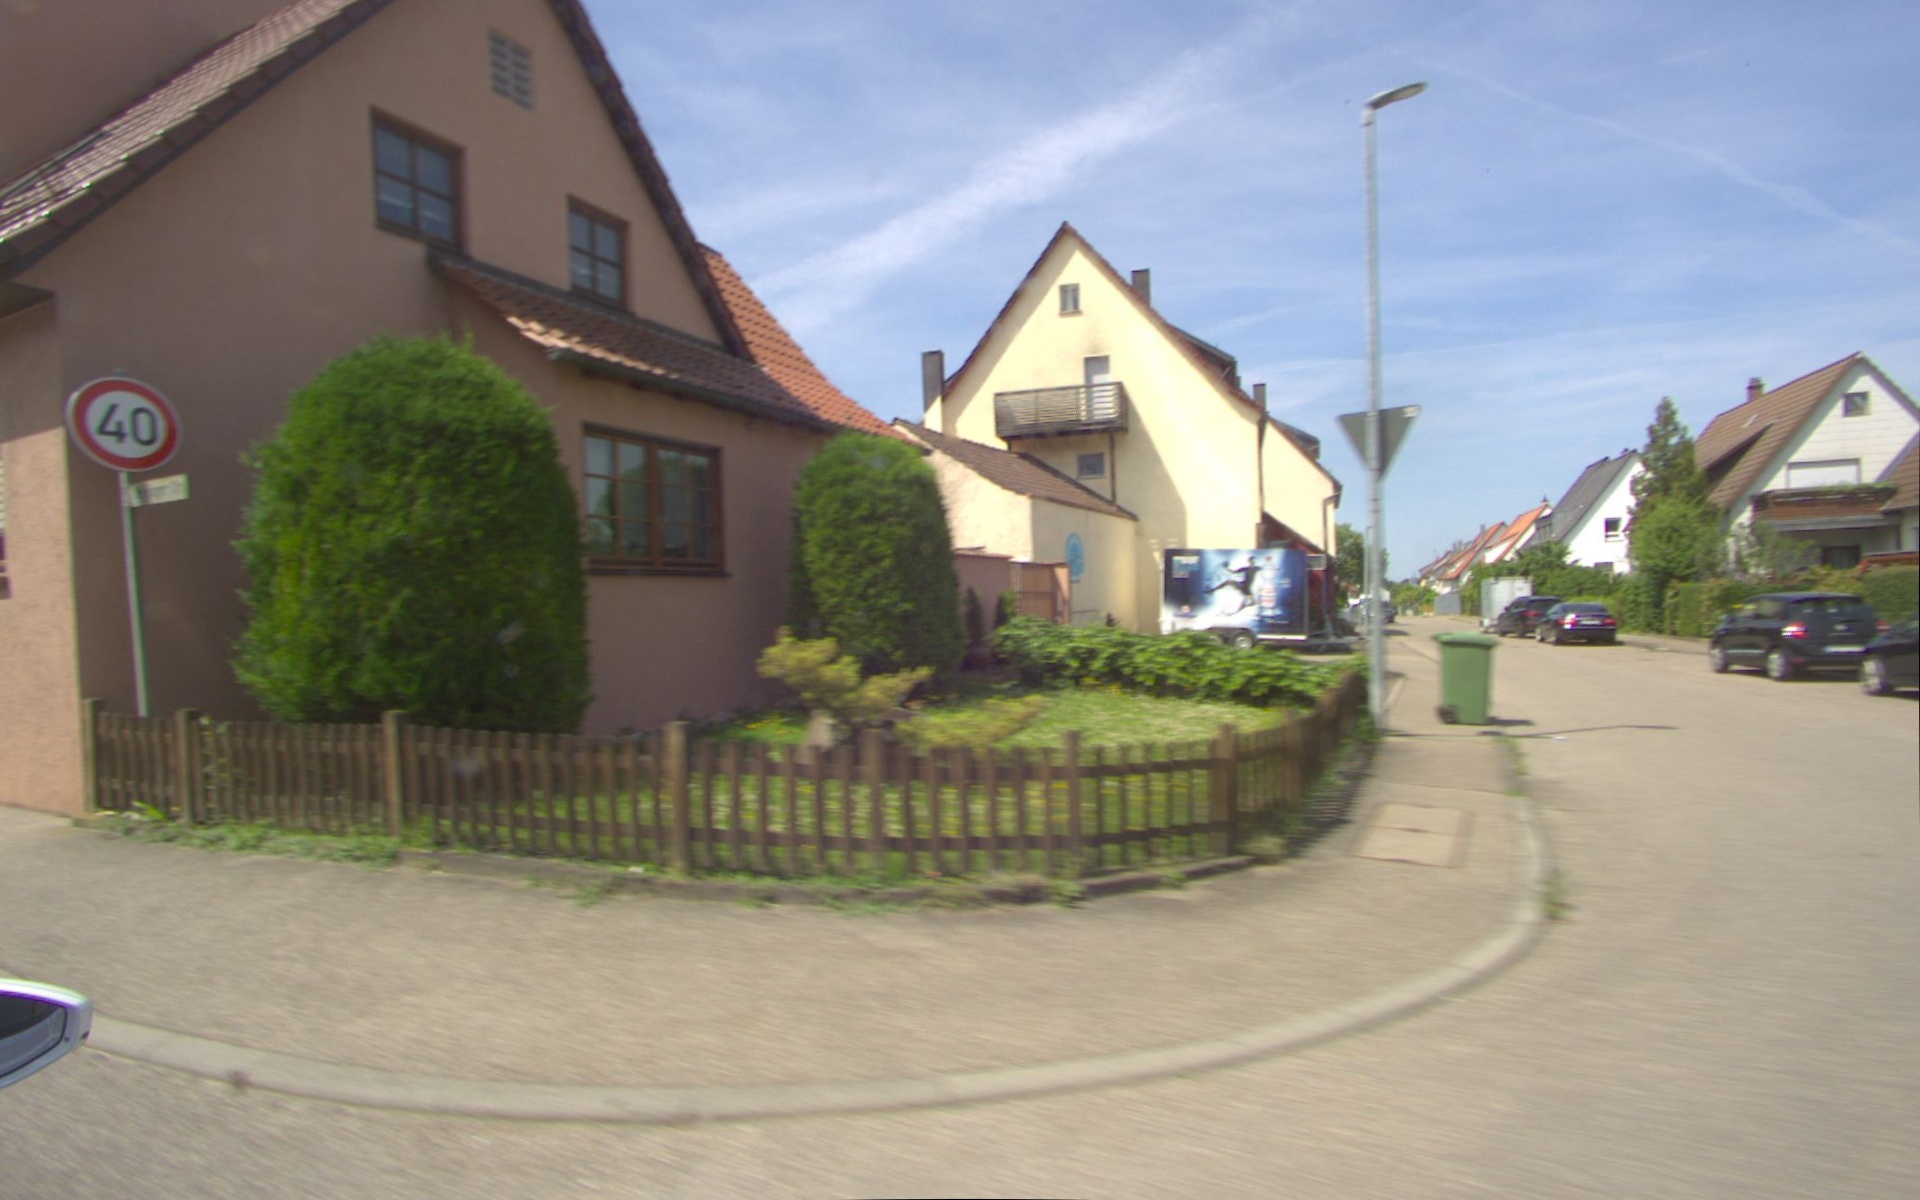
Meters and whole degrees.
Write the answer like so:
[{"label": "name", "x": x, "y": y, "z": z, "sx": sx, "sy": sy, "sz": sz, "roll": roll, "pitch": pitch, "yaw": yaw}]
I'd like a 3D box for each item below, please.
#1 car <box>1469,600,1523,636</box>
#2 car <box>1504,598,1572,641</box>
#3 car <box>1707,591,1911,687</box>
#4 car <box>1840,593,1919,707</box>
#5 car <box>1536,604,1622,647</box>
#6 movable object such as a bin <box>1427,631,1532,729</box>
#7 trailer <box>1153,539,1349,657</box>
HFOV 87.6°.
[{"label": "car", "x": 25.272, "y": 0.822, "z": 47.289, "sx": 1.618, "sy": 1.623, "sz": 3.440, "roll": -1, "pitch": 0, "yaw": 18}, {"label": "car", "x": 22.682, "y": 0.762, "z": 39.426, "sx": 1.618, "sy": 1.623, "sz": 3.440, "roll": -1, "pitch": 0, "yaw": 18}, {"label": "car", "x": 15.188, "y": 0.663, "z": 18.145, "sx": 1.618, "sy": 1.554, "sz": 3.440, "roll": -1, "pitch": 0, "yaw": 18}, {"label": "car", "x": 13.629, "y": 0.656, "z": 13.061, "sx": 1.821, "sy": 1.507, "sz": 3.902, "roll": -1, "pitch": -1, "yaw": 18}, {"label": "car", "x": 20.298, "y": 0.816, "z": 32.990, "sx": 1.618, "sy": 1.343, "sz": 3.440, "roll": -1, "pitch": -1, "yaw": 18}, {"label": "movable object such as a bin", "x": 6.157, "y": 0.942, "z": 11.904, "sx": 0.993, "sy": 1.110, "sz": 0.498, "roll": -1, "pitch": 0, "yaw": 13}, {"label": "trailer", "x": 7.501, "y": -0.009, "z": 26.048, "sx": 4.680, "sy": 2.850, "sz": 1.997, "roll": -1, "pitch": 0, "yaw": 17}]
